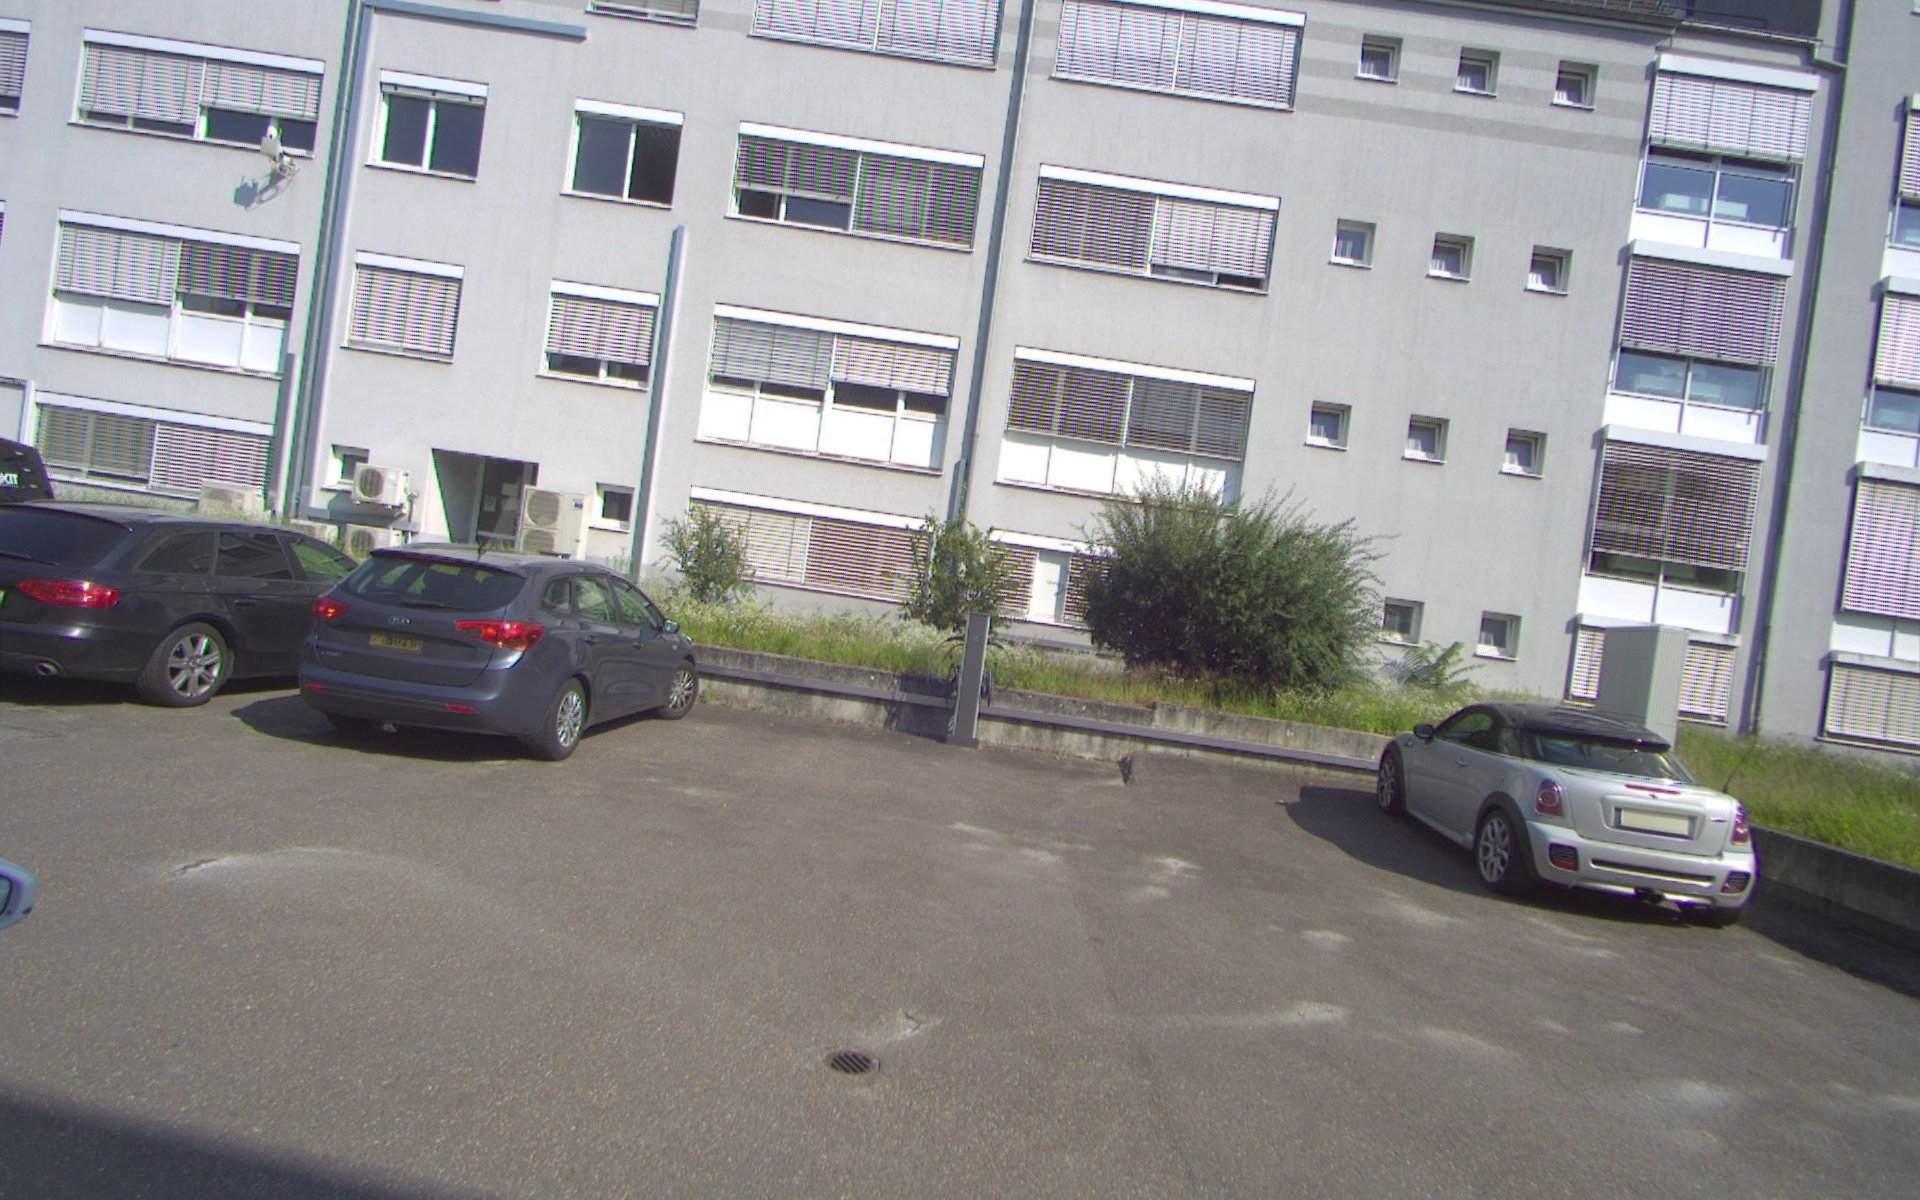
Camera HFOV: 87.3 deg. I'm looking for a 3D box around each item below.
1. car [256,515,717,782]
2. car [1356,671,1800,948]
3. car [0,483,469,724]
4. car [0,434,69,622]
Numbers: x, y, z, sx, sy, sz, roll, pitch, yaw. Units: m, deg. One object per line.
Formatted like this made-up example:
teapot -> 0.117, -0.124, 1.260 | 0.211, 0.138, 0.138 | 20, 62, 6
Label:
car -> -3.584, 0.347, 8.580 | 1.710, 1.495, 4.061 | 8, 0, 2
car -> 4.893, 1.547, 8.634 | 1.628, 1.455, 3.583 | 8, 0, 4
car -> -6.320, 0.004, 8.647 | 1.659, 1.455, 4.248 | 8, 0, 5
car -> -10.516, -0.855, 8.577 | 1.880, 1.881, 4.347 | 8, 0, -2
